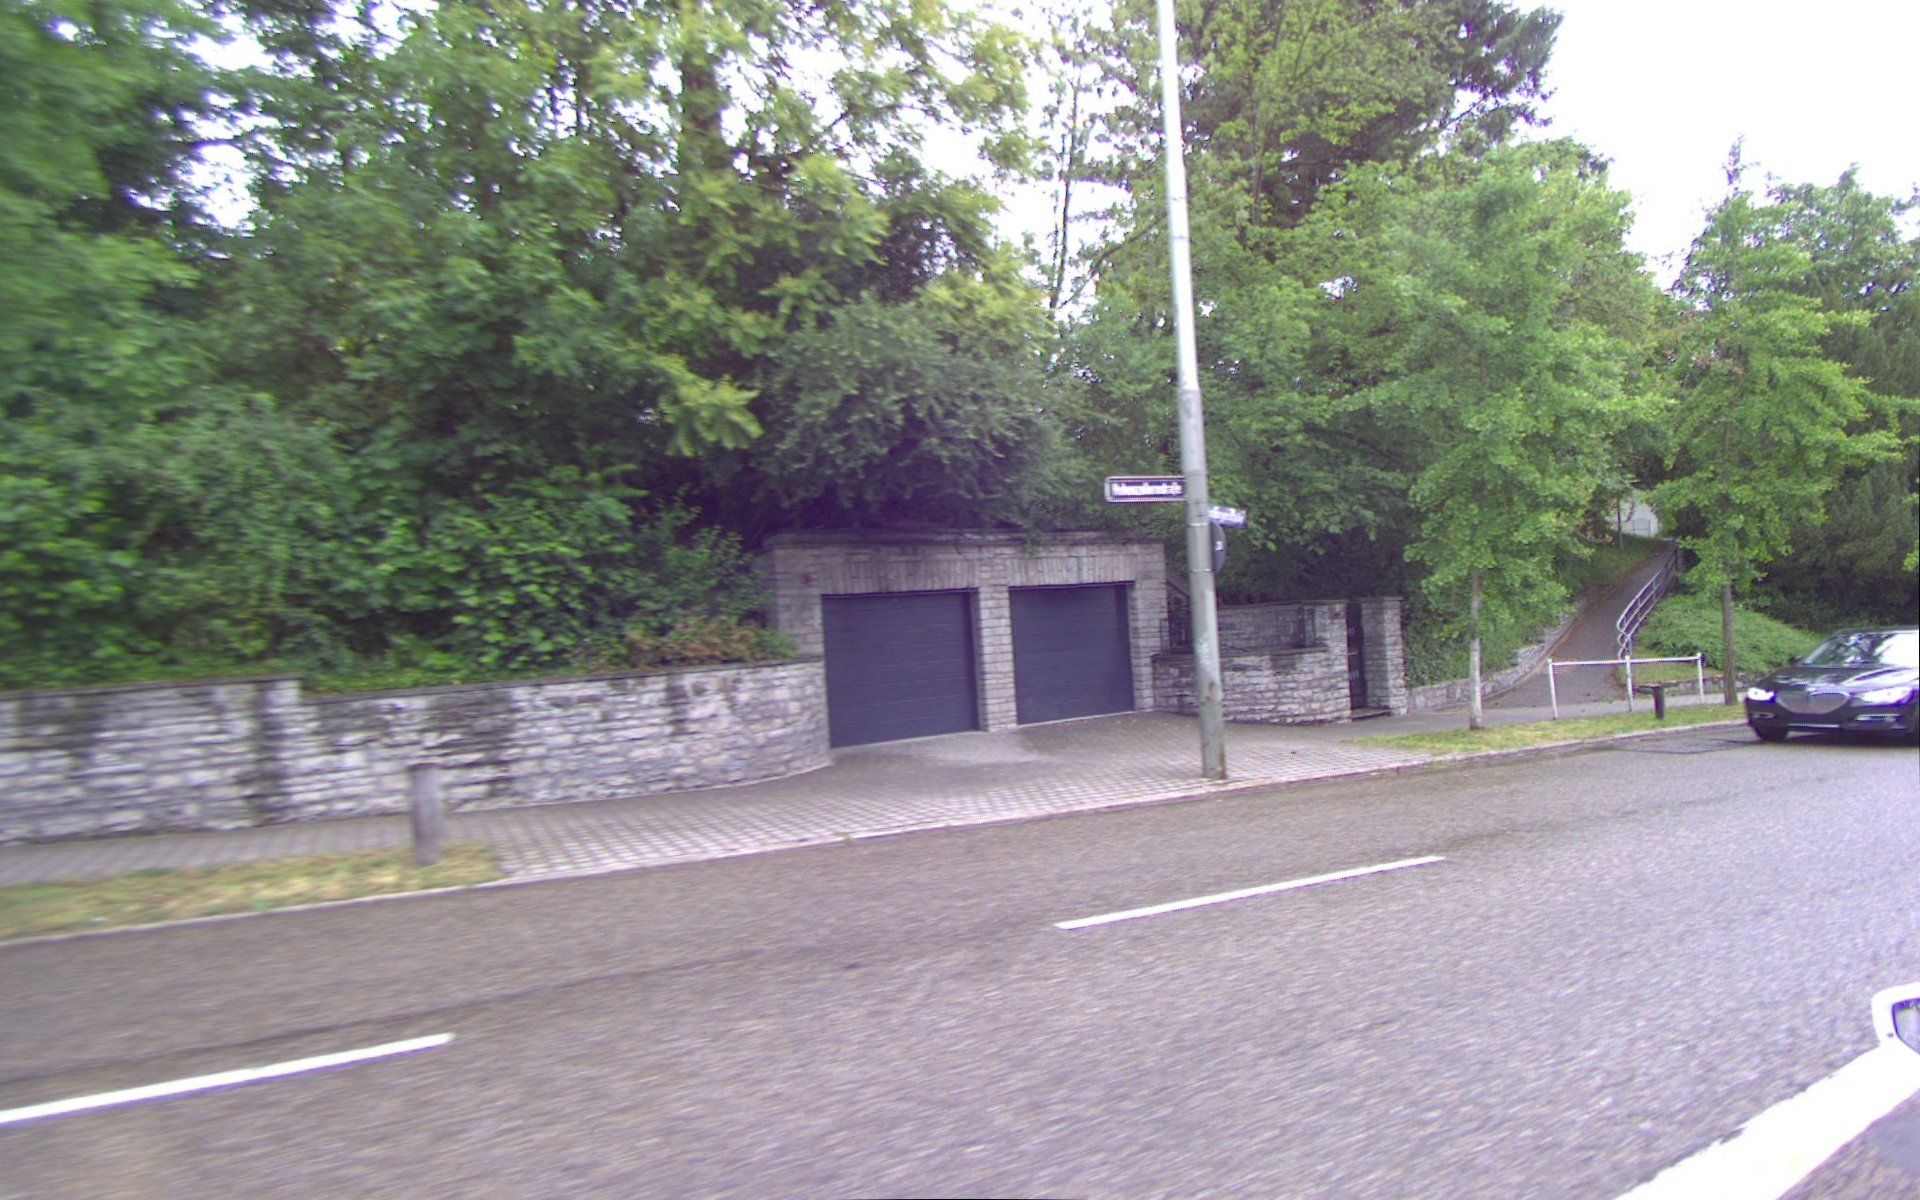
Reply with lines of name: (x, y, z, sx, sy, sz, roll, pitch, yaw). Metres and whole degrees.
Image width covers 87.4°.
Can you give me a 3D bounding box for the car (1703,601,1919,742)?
car: (12.242, 0.954, 13.330, 4.527, 1.605, 1.906, 1, -6, -27)
